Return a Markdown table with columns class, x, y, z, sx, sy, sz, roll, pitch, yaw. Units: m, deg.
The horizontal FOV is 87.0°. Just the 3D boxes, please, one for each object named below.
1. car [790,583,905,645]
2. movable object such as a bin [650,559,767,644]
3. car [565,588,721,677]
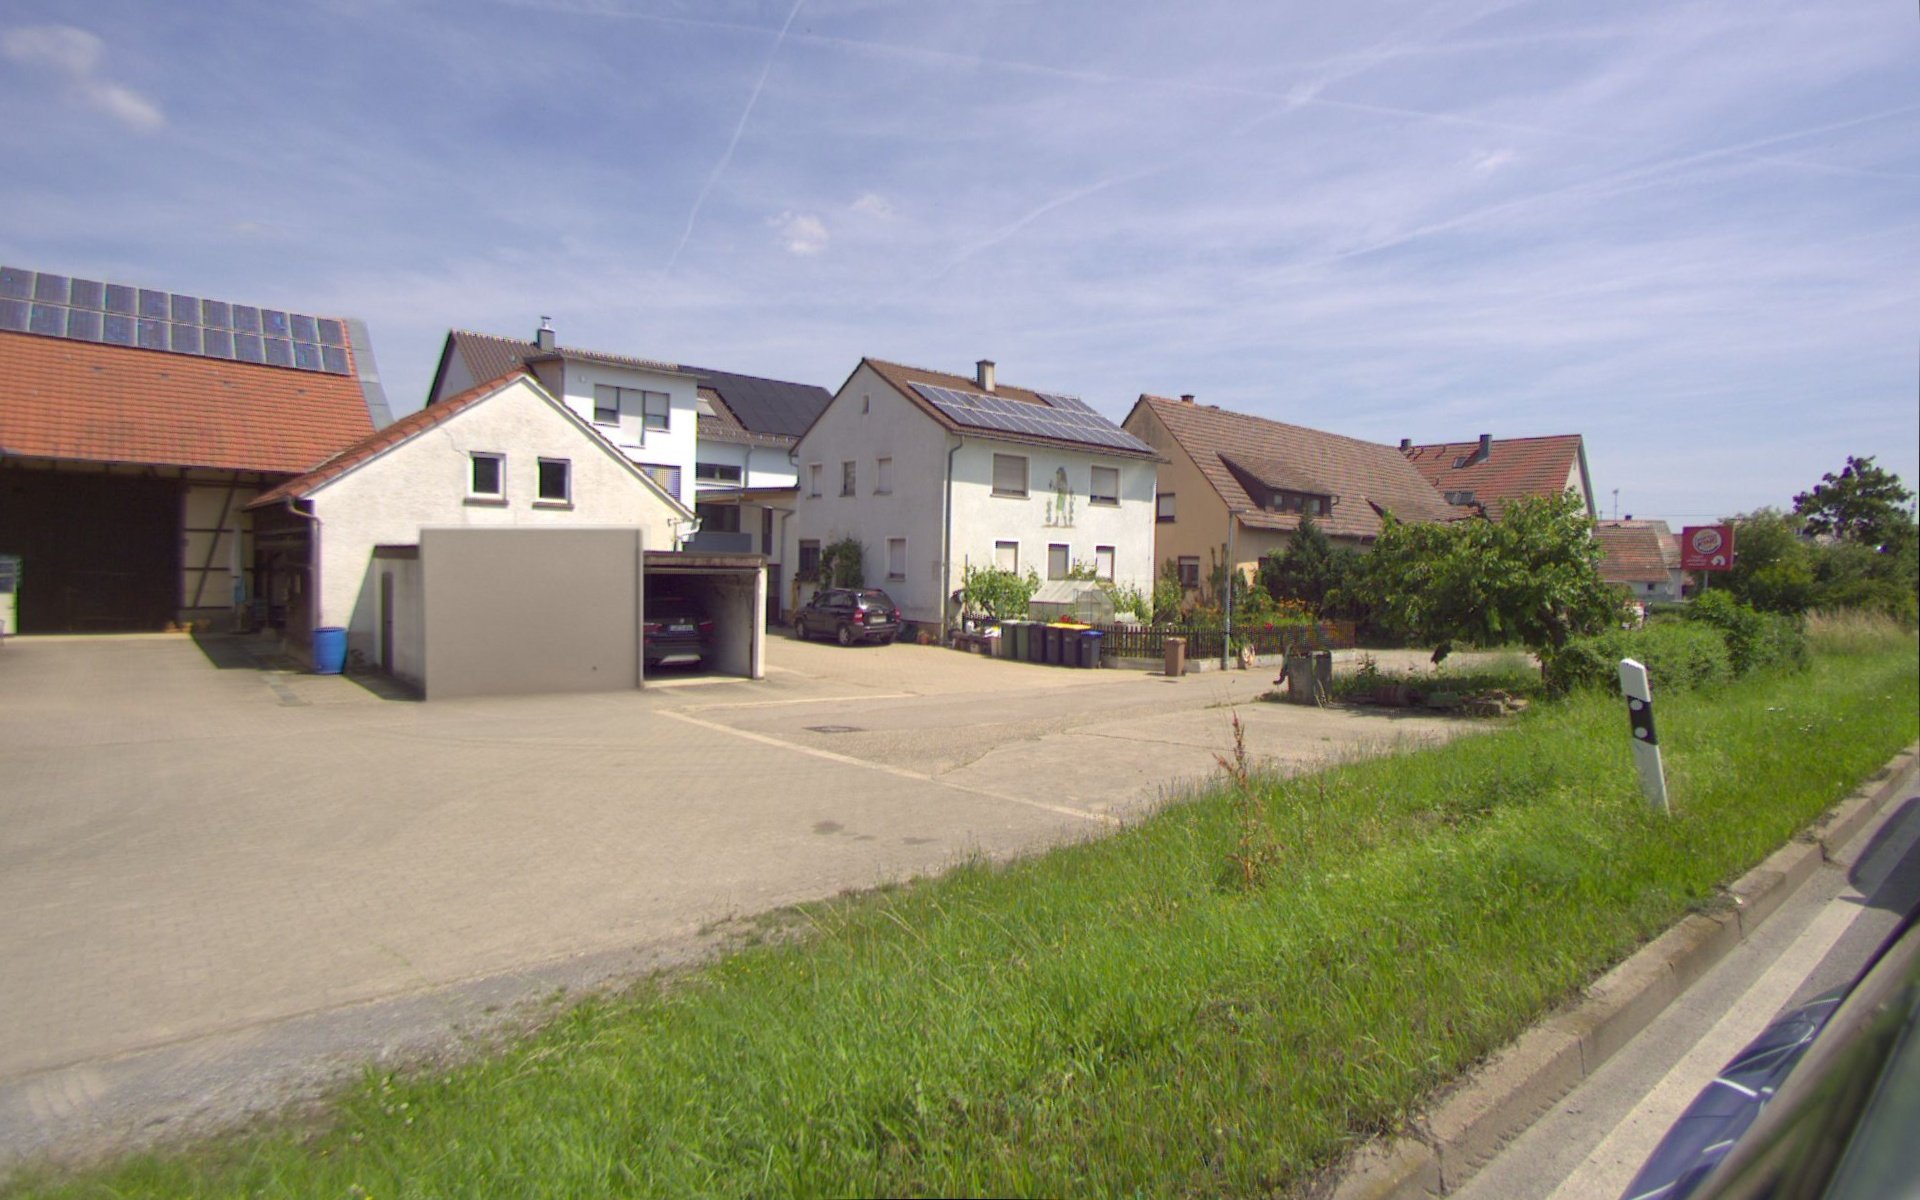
| class | x | y | z | sx | sy | sz | roll | pitch | yaw |
| --- | --- | --- | --- | --- | --- | --- | --- | --- | --- |
| car | -3.615 | 0.381 | 31.975 | 1.810 | 1.714 | 3.959 | -1 | 3 | -38 |
| movable object such as a bin | -7.652 | -0.014 | 30.595 | 2.041 | 2.372 | 3.720 | 1 | 1 | -38 |
| car | -6.835 | 0.596 | 21.595 | 1.802 | 1.597 | 3.996 | -1 | 2 | -40 |
